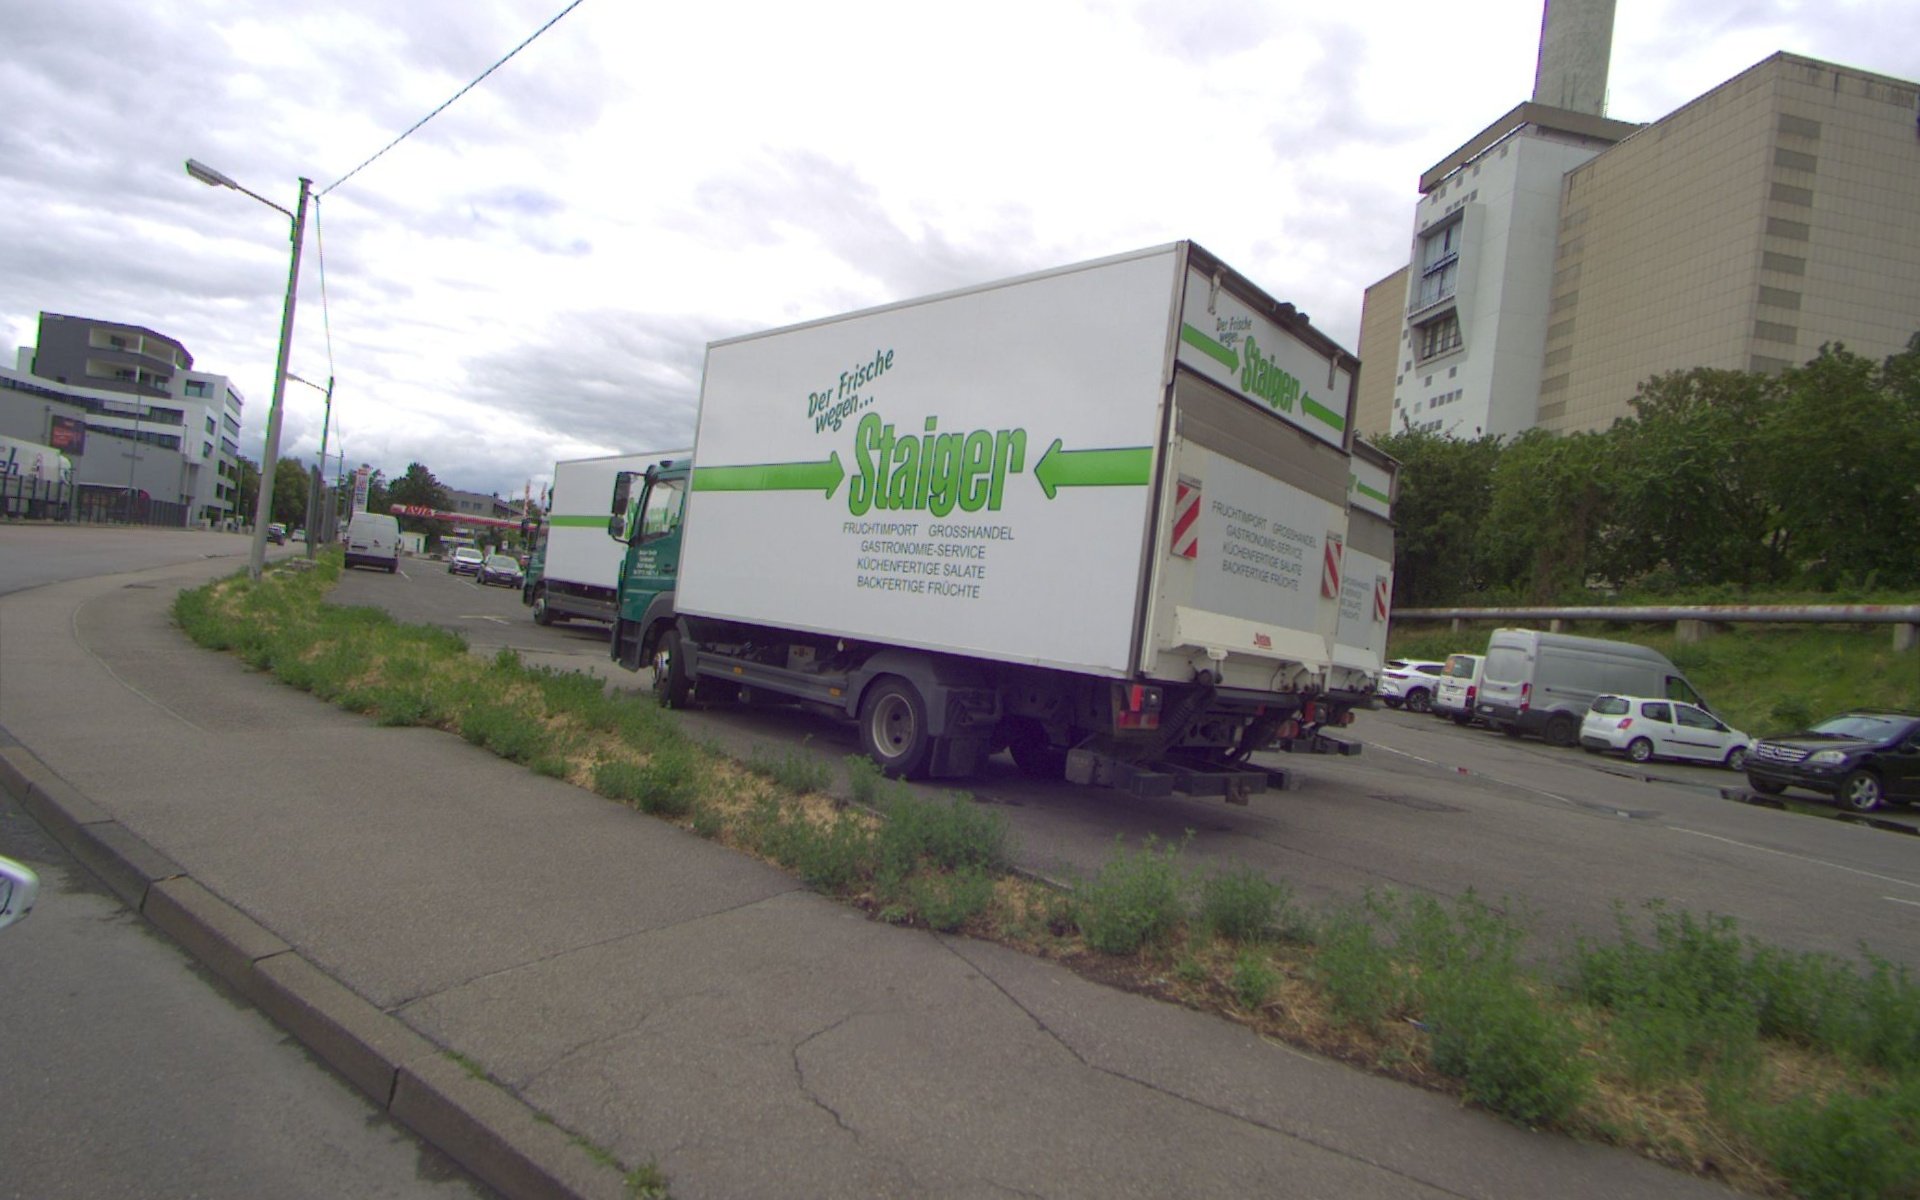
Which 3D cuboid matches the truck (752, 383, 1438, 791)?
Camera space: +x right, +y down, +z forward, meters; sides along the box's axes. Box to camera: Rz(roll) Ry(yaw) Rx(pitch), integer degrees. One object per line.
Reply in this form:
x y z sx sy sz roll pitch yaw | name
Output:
1.094 -0.236 13.143 3.055 3.675 8.498 7 -1 -44 | truck

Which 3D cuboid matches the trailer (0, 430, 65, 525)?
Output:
-49.000 -6.203 50.276 3.103 4.318 13.922 2 1 -28 | trailer

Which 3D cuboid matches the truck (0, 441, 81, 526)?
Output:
-52.057 -6.416 56.009 3.098 4.172 6.894 2 2 -28 | truck

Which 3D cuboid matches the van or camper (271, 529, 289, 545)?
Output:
-110.057 -10.117 162.945 1.979 2.284 3.968 7 0 -31 | van or camper

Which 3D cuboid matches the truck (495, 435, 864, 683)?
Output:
-6.470 -0.982 21.339 2.969 3.876 10.312 8 -1 -41 | truck

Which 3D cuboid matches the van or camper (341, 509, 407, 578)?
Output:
-26.842 -2.548 46.174 2.238 2.680 6.068 6 -1 -30 | van or camper

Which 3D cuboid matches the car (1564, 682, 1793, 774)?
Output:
16.521 2.926 23.259 3.928 1.526 1.868 6 -1 -4 | car

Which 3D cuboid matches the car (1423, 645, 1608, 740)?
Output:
15.504 2.564 28.205 3.929 2.076 1.998 6 0 -6 | car

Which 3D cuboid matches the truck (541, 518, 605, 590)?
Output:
-31.211 -3.687 80.816 3.280 5.157 8.451 6 0 -29 | truck

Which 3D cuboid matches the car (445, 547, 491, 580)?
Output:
-29.403 -2.192 60.078 1.877 1.632 4.391 7 -1 -33 | car

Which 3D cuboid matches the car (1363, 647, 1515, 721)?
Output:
15.792 2.754 33.280 3.930 1.815 1.999 7 -1 -6 | car

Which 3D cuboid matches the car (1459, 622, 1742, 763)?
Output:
16.110 2.283 25.463 5.794 2.812 2.023 6 0 -5 | car

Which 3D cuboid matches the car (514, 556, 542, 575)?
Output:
-46.092 -3.704 107.189 1.980 1.727 3.966 7 -1 -33 | car

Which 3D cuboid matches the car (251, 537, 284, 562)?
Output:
-58.283 -4.298 84.719 1.979 1.772 3.966 7 0 -32 | car

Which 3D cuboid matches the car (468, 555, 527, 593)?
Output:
-22.449 -1.302 48.750 1.878 1.462 4.390 9 -2 -33 | car

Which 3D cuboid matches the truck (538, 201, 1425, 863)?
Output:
-0.648 -0.502 9.671 3.055 3.675 8.496 7 -1 -45 | truck

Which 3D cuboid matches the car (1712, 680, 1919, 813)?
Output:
16.548 2.711 18.121 4.572 1.904 1.998 7 -1 -7 | car
